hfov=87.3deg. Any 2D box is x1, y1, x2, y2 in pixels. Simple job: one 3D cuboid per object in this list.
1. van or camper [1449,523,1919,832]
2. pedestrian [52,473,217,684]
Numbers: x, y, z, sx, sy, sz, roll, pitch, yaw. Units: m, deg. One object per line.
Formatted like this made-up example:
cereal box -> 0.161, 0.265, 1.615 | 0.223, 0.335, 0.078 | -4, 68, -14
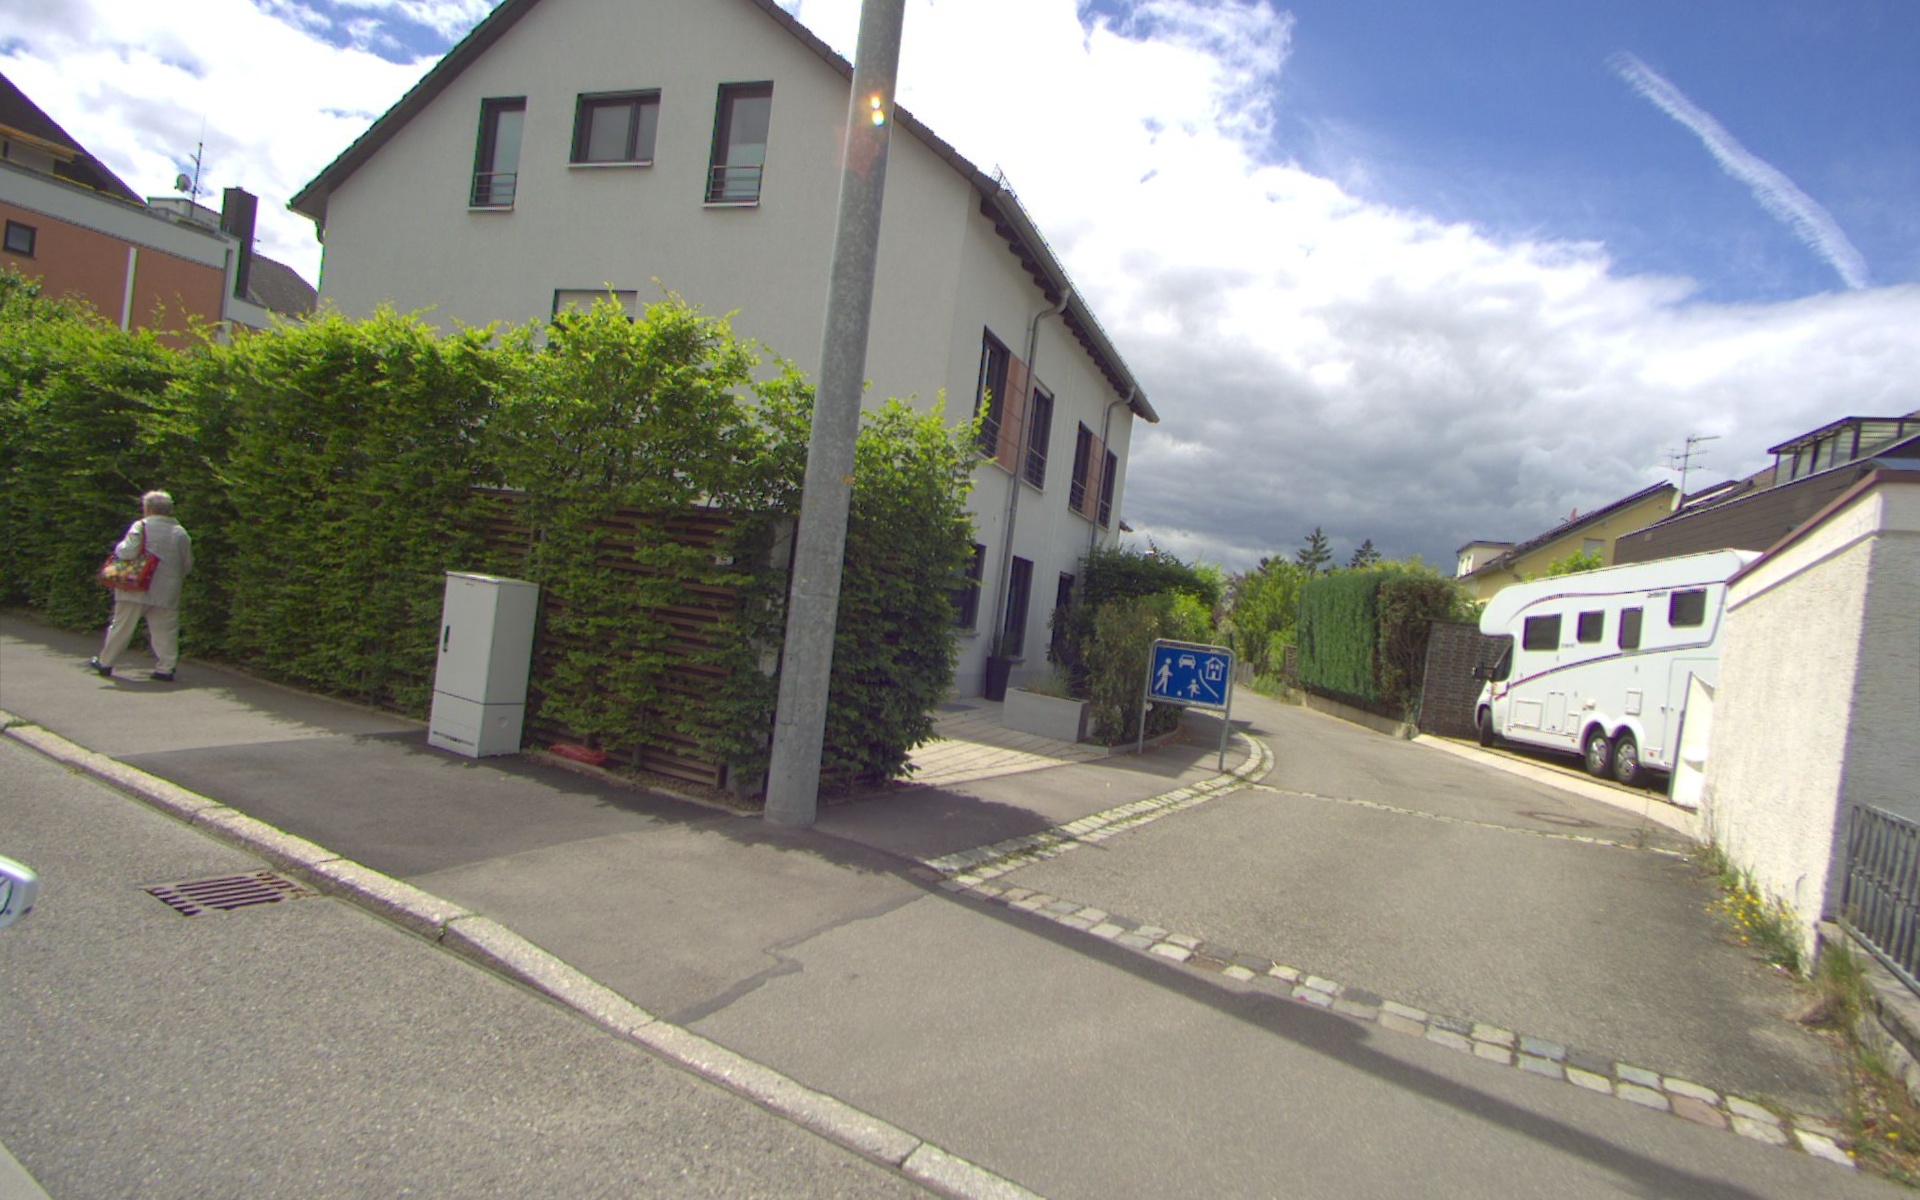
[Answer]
van or camper -> 10.857, 1.176, 16.104 | 2.373, 3.339, 8.698 | 7, -3, 7
pedestrian -> -6.875, -0.164, 8.395 | 0.642, 1.638, 0.799 | 7, 2, 31
